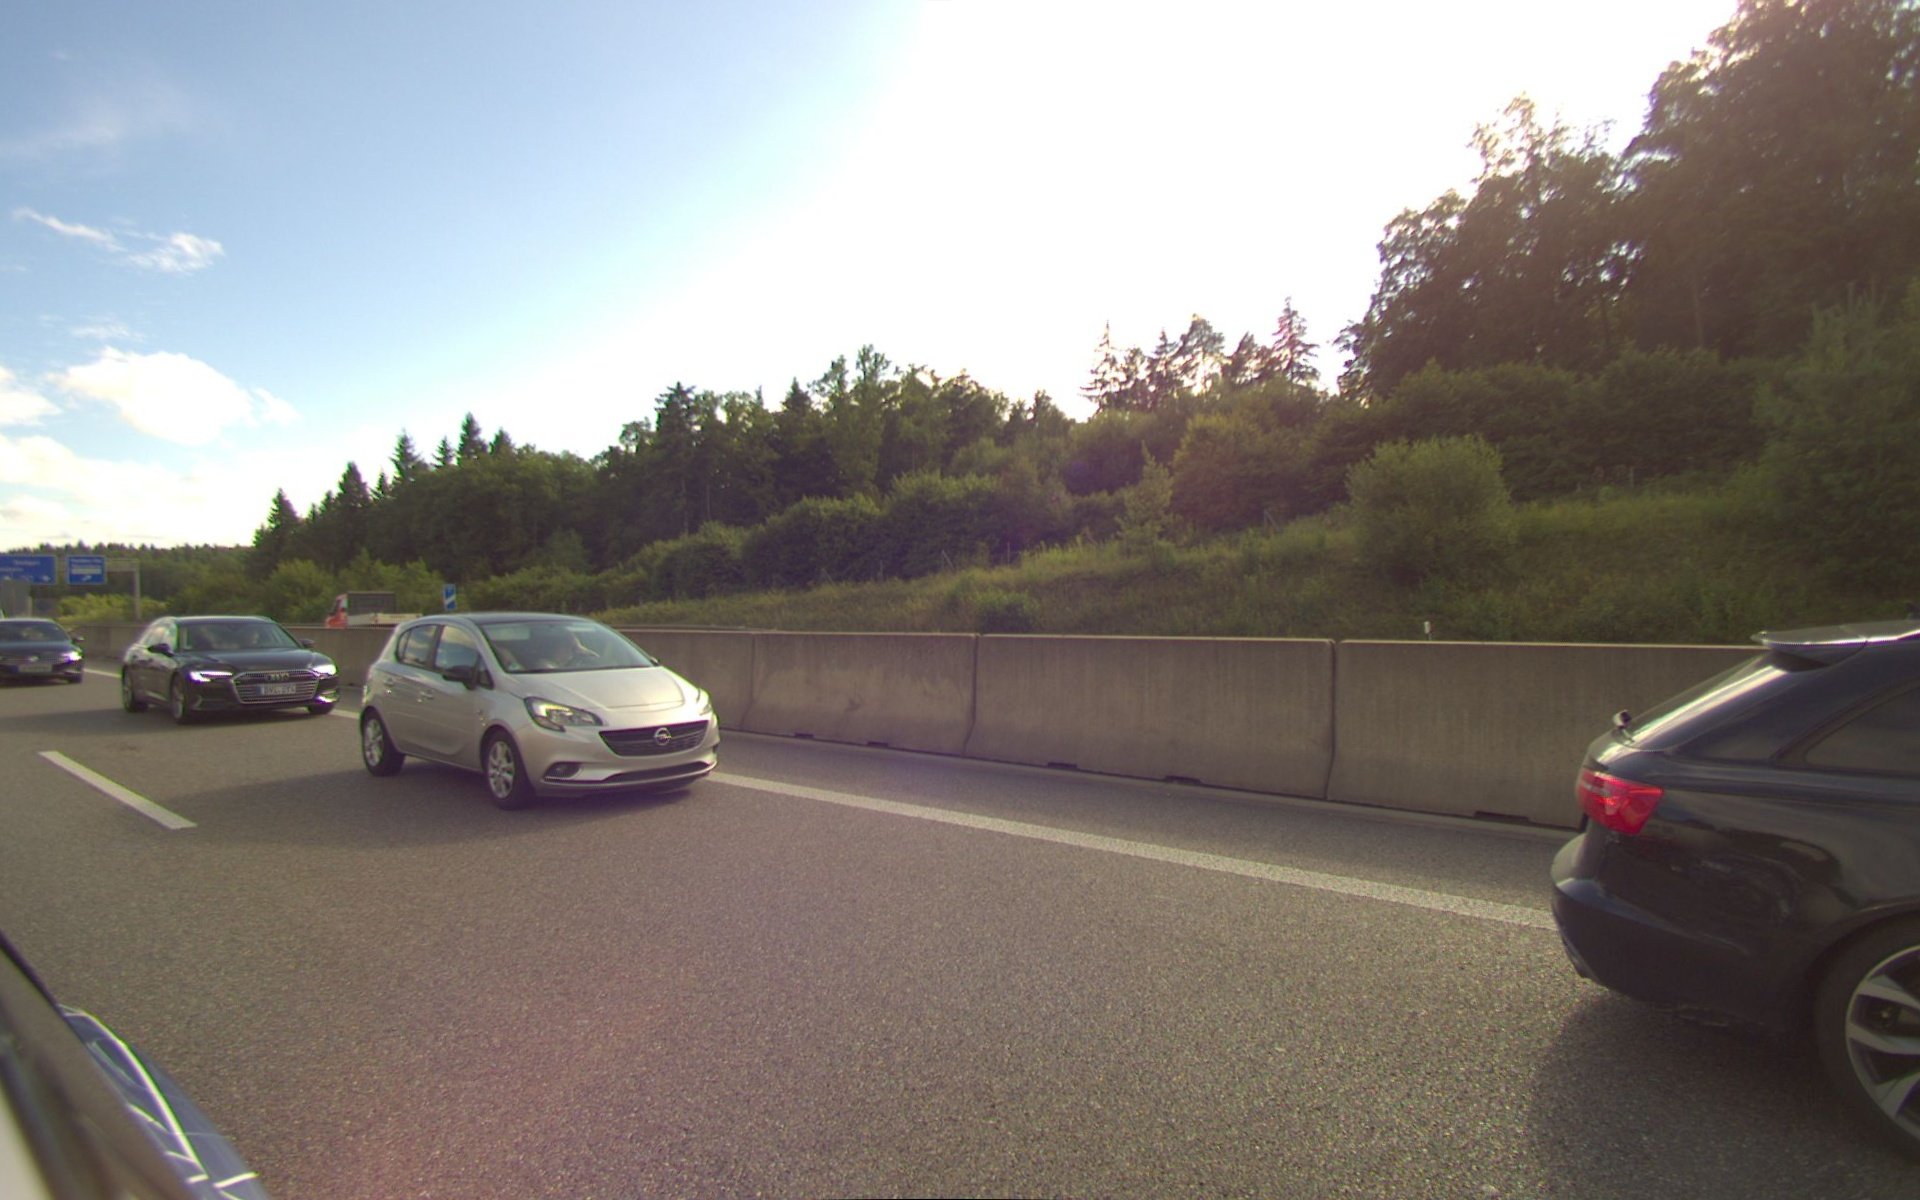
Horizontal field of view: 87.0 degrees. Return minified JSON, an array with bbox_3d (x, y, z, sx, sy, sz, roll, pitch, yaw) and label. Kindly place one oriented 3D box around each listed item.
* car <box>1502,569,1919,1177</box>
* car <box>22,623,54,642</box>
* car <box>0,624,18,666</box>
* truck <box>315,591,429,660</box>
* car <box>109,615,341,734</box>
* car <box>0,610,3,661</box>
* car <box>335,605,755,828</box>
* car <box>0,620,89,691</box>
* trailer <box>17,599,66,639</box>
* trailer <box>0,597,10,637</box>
[{"bbox_3d":[4.014,0.628,2.159,4.745,1.467,1.823,-1,-1,41],"label":"car"},{"bbox_3d":[-92.264,3.191,101.254,4.621,1.823,1.833,-1,-1,41],"label":"car"},{"bbox_3d":[-35.052,1.605,36.082,3.992,1.442,1.786,-1,-1,41],"label":"car"},{"bbox_3d":[-26.250,1.109,45.081,6.426,2.876,2.398,-1,-1,41],"label":"truck"},{"bbox_3d":[-11.136,0.992,15.184,4.850,1.483,1.862,-1,-1,42],"label":"car"},{"bbox_3d":[-40.031,1.445,40.625,4.845,1.980,1.922,-1,-1,41],"label":"car"},{"bbox_3d":[-3.709,0.824,8.710,4.038,1.477,1.729,-2,-2,41],"label":"car"},{"bbox_3d":[-21.497,1.210,23.180,4.569,1.488,1.890,-1,-1,43],"label":"car"},{"bbox_3d":[-118.899,2.382,130.849,14.644,4.866,2.897,-1,0,41],"label":"trailer"},{"bbox_3d":[-128.821,2.265,133.815,13.825,5.112,3.057,-1,0,40],"label":"trailer"}]
